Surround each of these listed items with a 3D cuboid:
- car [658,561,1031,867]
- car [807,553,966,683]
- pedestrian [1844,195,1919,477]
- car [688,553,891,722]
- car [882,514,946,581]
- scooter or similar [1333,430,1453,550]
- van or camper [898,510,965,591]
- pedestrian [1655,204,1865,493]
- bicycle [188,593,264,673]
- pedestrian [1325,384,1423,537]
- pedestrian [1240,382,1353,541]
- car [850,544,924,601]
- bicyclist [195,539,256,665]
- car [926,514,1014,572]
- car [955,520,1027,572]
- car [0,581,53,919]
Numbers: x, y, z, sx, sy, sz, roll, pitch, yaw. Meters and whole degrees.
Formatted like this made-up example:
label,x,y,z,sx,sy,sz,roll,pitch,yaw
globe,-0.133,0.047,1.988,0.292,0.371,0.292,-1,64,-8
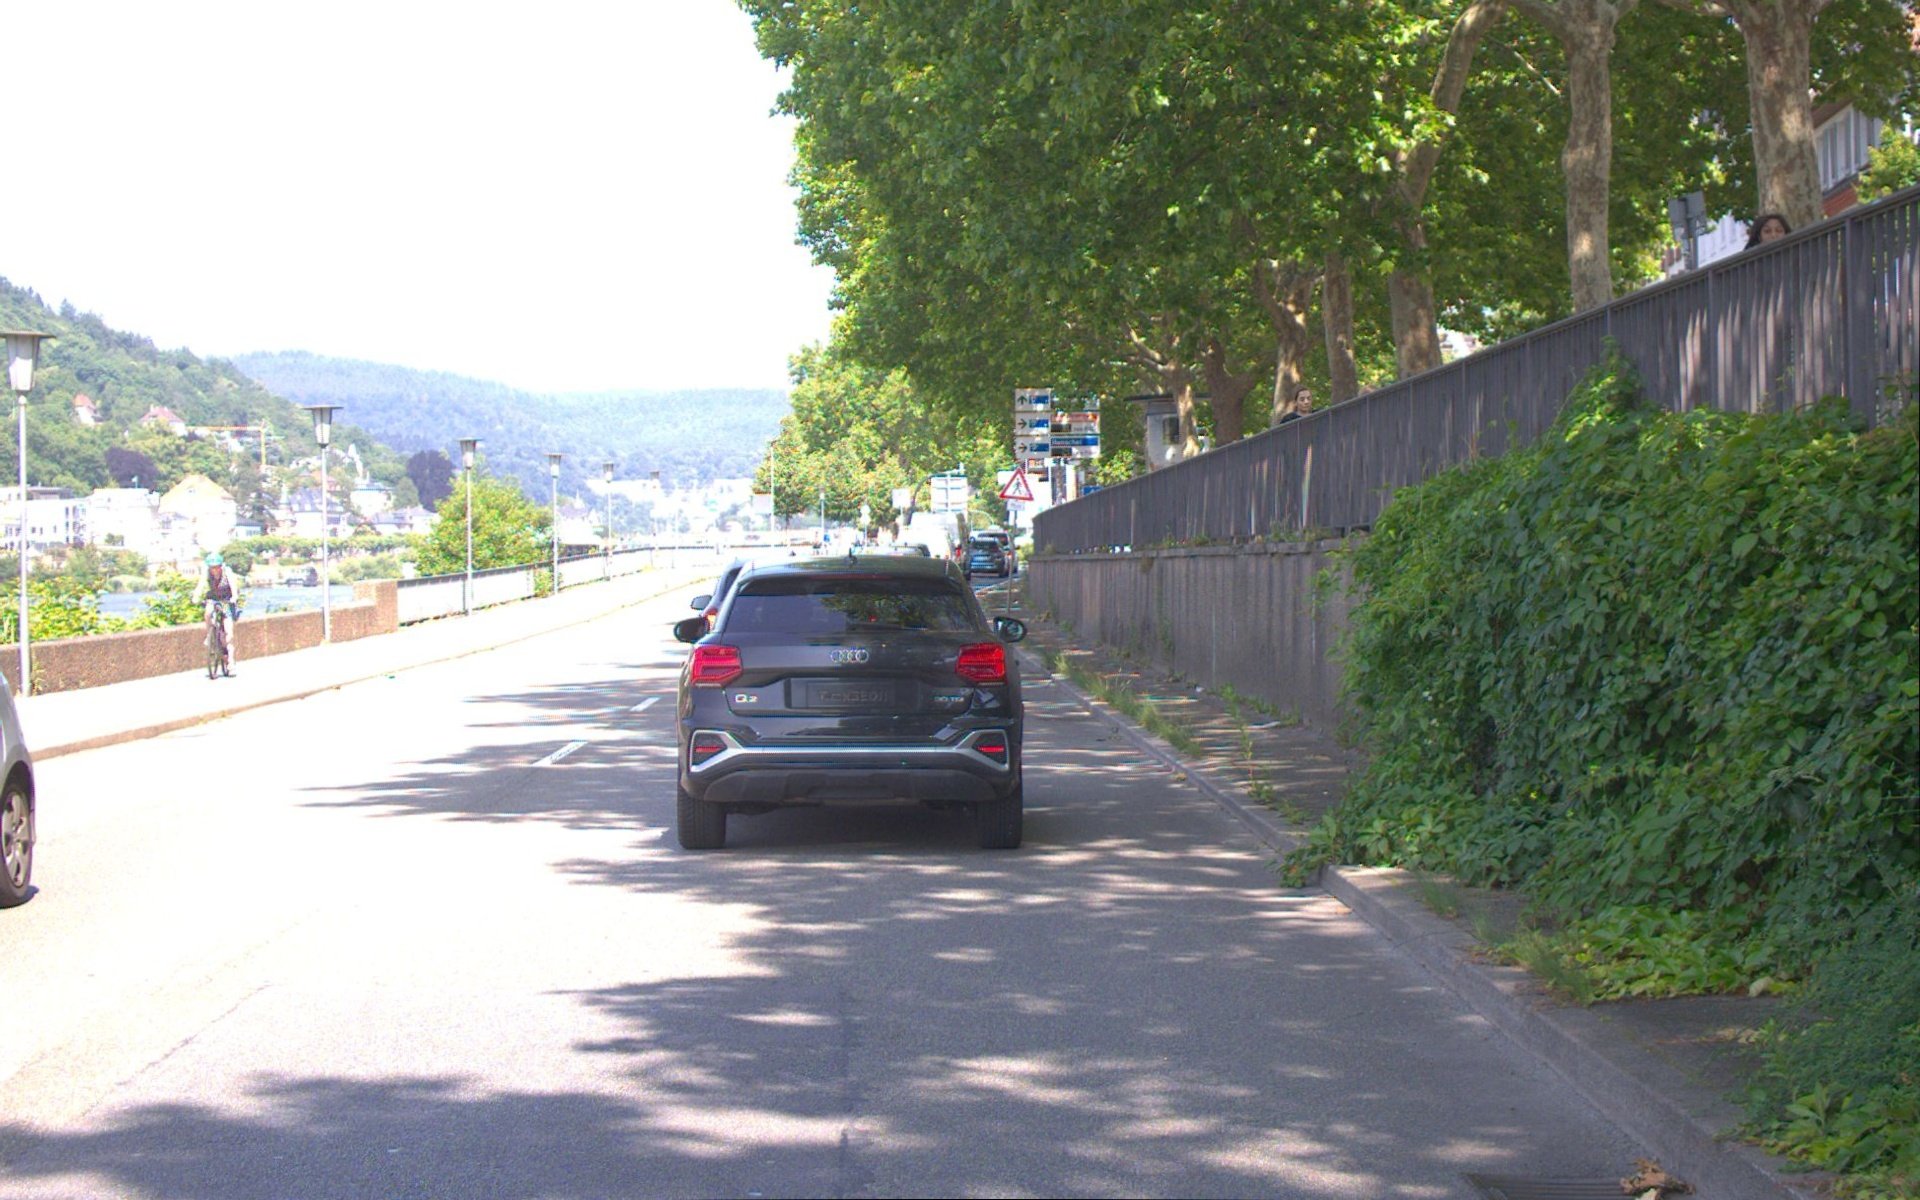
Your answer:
label,x,y,z,sx,sy,sz,roll,pitch,yaw
car,-0.635,0.536,18.876,1.828,1.481,4.000,0,1,-2
car,-0.917,0.178,41.614,1.828,1.481,4.000,0,1,-2
pedestrian,4.936,-1.330,17.329,0.643,1.361,0.794,-4,1,-3
car,-1.603,0.312,32.930,1.828,1.506,4.000,0,1,-2
car,-1.548,-1.743,114.374,1.993,2.162,4.000,-1,1,-2
scooter or similar,3.938,-0.990,31.326,0.855,1.023,1.107,-4,1,-2
van or camper,-0.995,-1.780,123.229,2.310,2.837,4.246,-1,1,0
pedestrian,4.013,-1.250,17.296,0.753,1.361,0.814,-4,1,-3
bicycle,-9.829,0.432,46.079,0.632,1.008,1.986,-1,1,-2
pedestrian,3.859,-1.294,32.103,0.680,1.361,0.989,-4,1,-2
pedestrian,3.494,-1.427,35.792,0.936,1.574,1.028,-4,1,-3
car,-1.894,-0.721,87.892,1.828,1.439,4.000,0,1,-2
bicyclist,-9.859,0.024,46.155,0.637,1.668,0.871,-1,1,-2
car,0.345,-2.235,134.694,3.098,2.007,5.825,-4,1,-2
car,1.262,-2.279,144.881,2.661,2.007,5.825,-3,1,-2
car,-4.980,0.696,13.576,1.731,1.437,4.046,-2,1,-1
